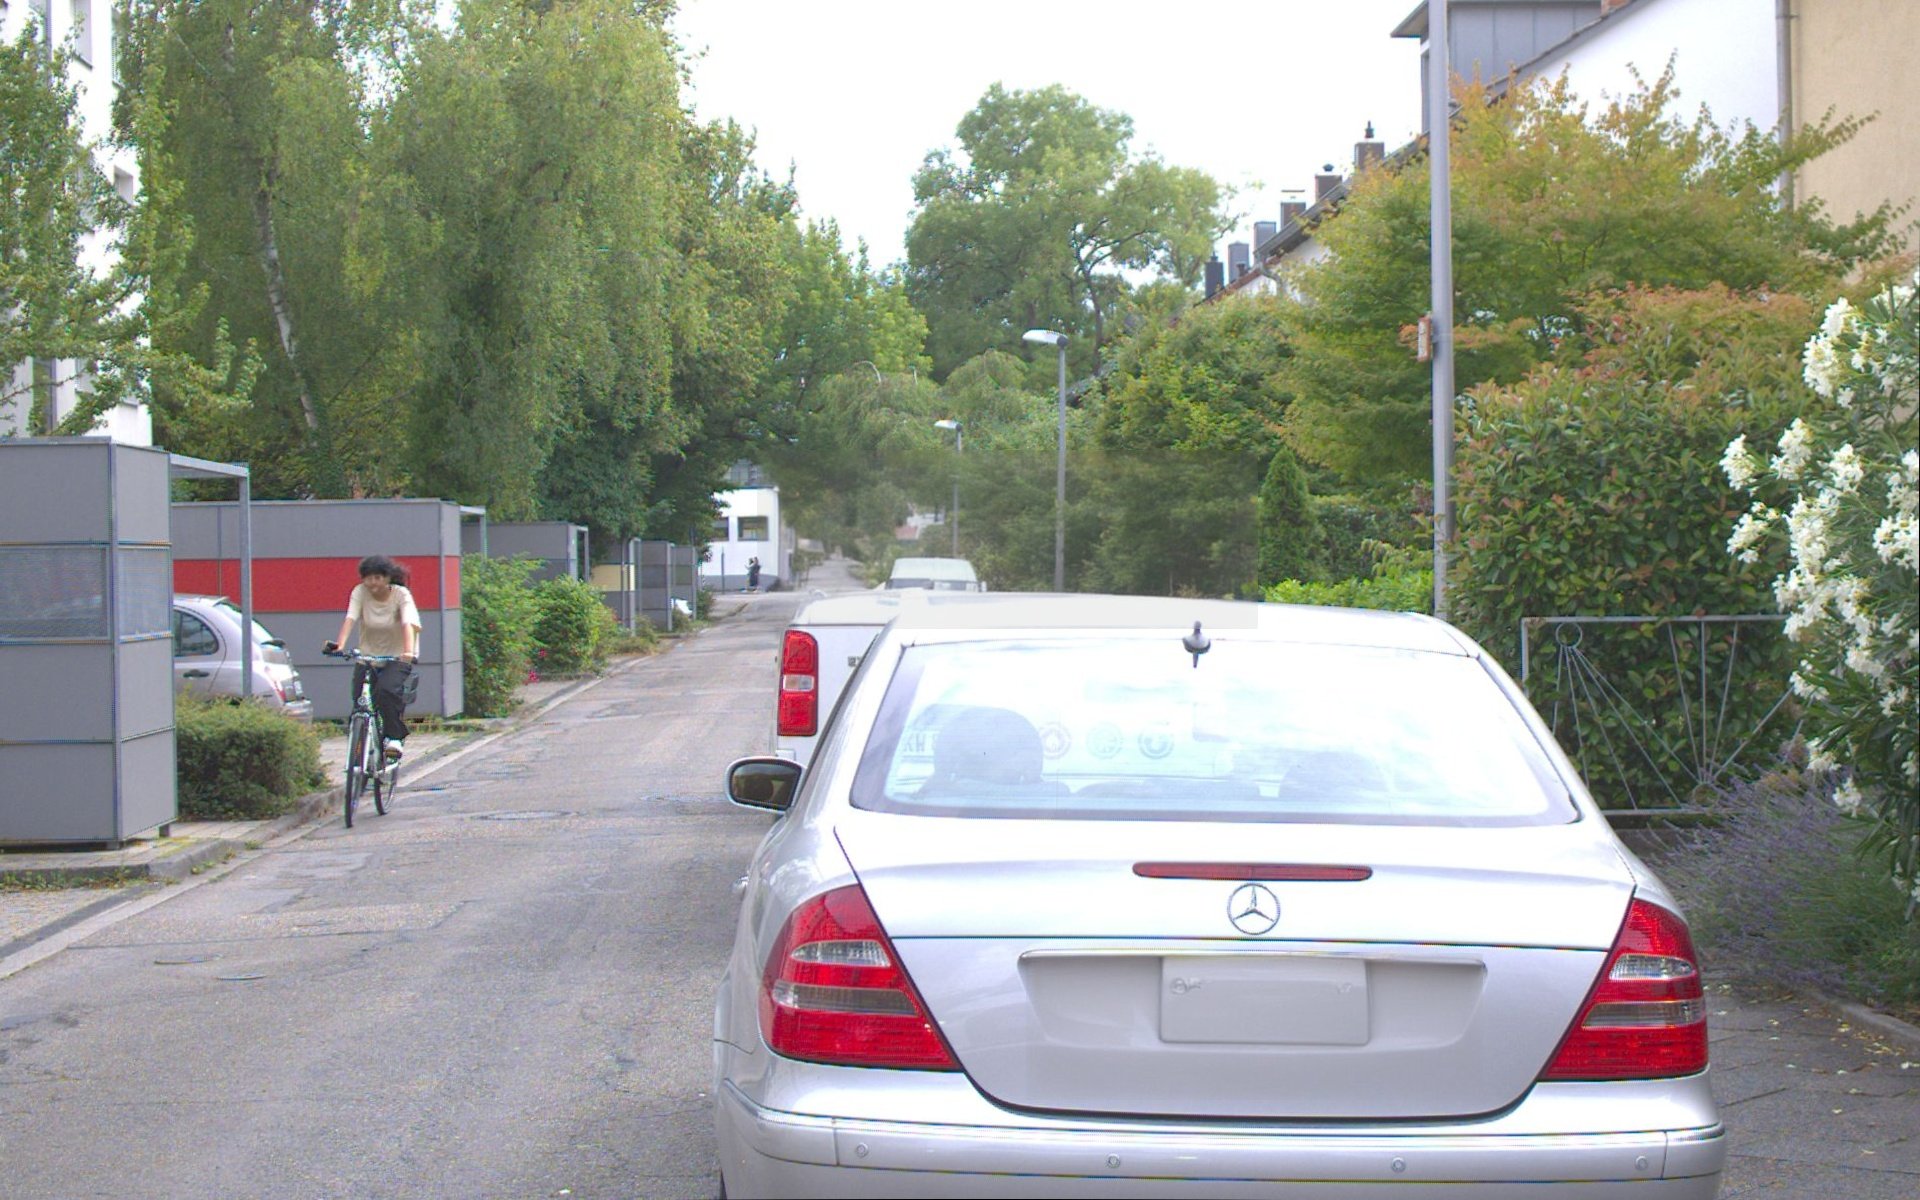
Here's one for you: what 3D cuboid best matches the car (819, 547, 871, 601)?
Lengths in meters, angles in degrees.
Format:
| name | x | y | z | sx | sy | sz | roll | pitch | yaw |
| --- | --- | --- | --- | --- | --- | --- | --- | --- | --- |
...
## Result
| name | x | y | z | sx | sy | sz | roll | pitch | yaw |
| --- | --- | --- | --- | --- | --- | --- | --- | --- | --- |
| car | -4.164 | -0.944 | 124.417 | 1.825 | 1.877 | 4.000 | 1 | 1 | -2 |

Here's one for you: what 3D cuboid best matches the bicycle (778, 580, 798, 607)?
| name | x | y | z | sx | sy | sz | roll | pitch | yaw |
| --- | --- | --- | --- | --- | --- | --- | --- | --- | --- |
| bicycle | -7.181 | -0.283 | 143.787 | 0.689 | 1.127 | 2.579 | 1 | 0 | 0 |

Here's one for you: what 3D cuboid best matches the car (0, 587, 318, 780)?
| name | x | y | z | sx | sy | sz | roll | pitch | yaw |
| --- | --- | --- | --- | --- | --- | --- | --- | --- | --- |
| car | -7.291 | 0.699 | 28.904 | 3.561 | 1.475 | 1.711 | -2 | 1 | -6 |

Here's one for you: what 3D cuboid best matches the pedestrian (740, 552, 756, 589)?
| name | x | y | z | sx | sy | sz | roll | pitch | yaw |
| --- | --- | --- | --- | --- | --- | --- | --- | --- | --- |
| pedestrian | -10.441 | -1.441 | 169.128 | 0.777 | 1.799 | 0.548 | 1 | 0 | -3 |

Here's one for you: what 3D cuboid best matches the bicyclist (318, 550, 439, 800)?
| name | x | y | z | sx | sy | sz | roll | pitch | yaw |
| --- | --- | --- | --- | --- | --- | --- | --- | --- | --- |
| bicyclist | -3.771 | 0.474 | 22.334 | 0.597 | 1.575 | 0.767 | -2 | 0 | -1 |

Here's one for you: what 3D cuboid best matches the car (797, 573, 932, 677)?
| name | x | y | z | sx | sy | sz | roll | pitch | yaw |
| --- | --- | --- | --- | --- | --- | --- | --- | --- | --- |
| car | -1.369 | 0.325 | 49.207 | 1.825 | 1.365 | 4.331 | 1 | 1 | -2 |

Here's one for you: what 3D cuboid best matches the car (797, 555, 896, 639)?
| name | x | y | z | sx | sy | sz | roll | pitch | yaw |
| --- | --- | --- | --- | --- | --- | --- | --- | --- | --- |
| car | -2.268 | -0.088 | 67.854 | 1.825 | 1.576 | 4.001 | 1 | 1 | -4 |

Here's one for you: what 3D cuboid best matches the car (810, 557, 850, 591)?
| name | x | y | z | sx | sy | sz | roll | pitch | yaw |
| --- | --- | --- | --- | --- | --- | --- | --- | --- | --- |
| car | -6.243 | -1.251 | 165.400 | 1.825 | 1.576 | 4.000 | 1 | 1 | -2 |

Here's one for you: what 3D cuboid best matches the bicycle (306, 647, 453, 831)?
| name | x | y | z | sx | sy | sz | roll | pitch | yaw |
| --- | --- | --- | --- | --- | --- | --- | --- | --- | --- |
| bicycle | -3.755 | 0.874 | 22.371 | 0.597 | 1.072 | 2.042 | -2 | 1 | -1 |

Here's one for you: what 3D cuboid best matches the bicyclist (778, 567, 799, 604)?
| name | x | y | z | sx | sy | sz | roll | pitch | yaw |
| --- | --- | --- | --- | --- | --- | --- | --- | --- | --- |
| bicyclist | -7.174 | -0.606 | 143.769 | 0.798 | 1.506 | 0.934 | 1 | 0 | 0 |

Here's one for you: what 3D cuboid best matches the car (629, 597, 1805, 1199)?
| name | x | y | z | sx | sy | sz | roll | pitch | yaw |
| --- | --- | --- | --- | --- | --- | --- | --- | --- | --- |
| car | 0.367 | 0.727 | 7.457 | 1.783 | 1.416 | 4.455 | 0 | 1 | -1 |

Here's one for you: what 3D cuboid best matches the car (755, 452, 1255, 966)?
| name | x | y | z | sx | sy | sz | roll | pitch | yaw |
| --- | --- | --- | --- | --- | --- | --- | --- | --- | --- |
| car | 0.050 | 0.395 | 15.790 | 1.903 | 1.958 | 5.254 | 0 | 1 | -3 |

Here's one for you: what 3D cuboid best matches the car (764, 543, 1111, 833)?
| name | x | y | z | sx | sy | sz | roll | pitch | yaw |
| --- | --- | --- | --- | --- | --- | --- | --- | --- | --- |
| car | -0.243 | 0.479 | 21.486 | 1.824 | 1.630 | 4.163 | 0 | 1 | -5 |
